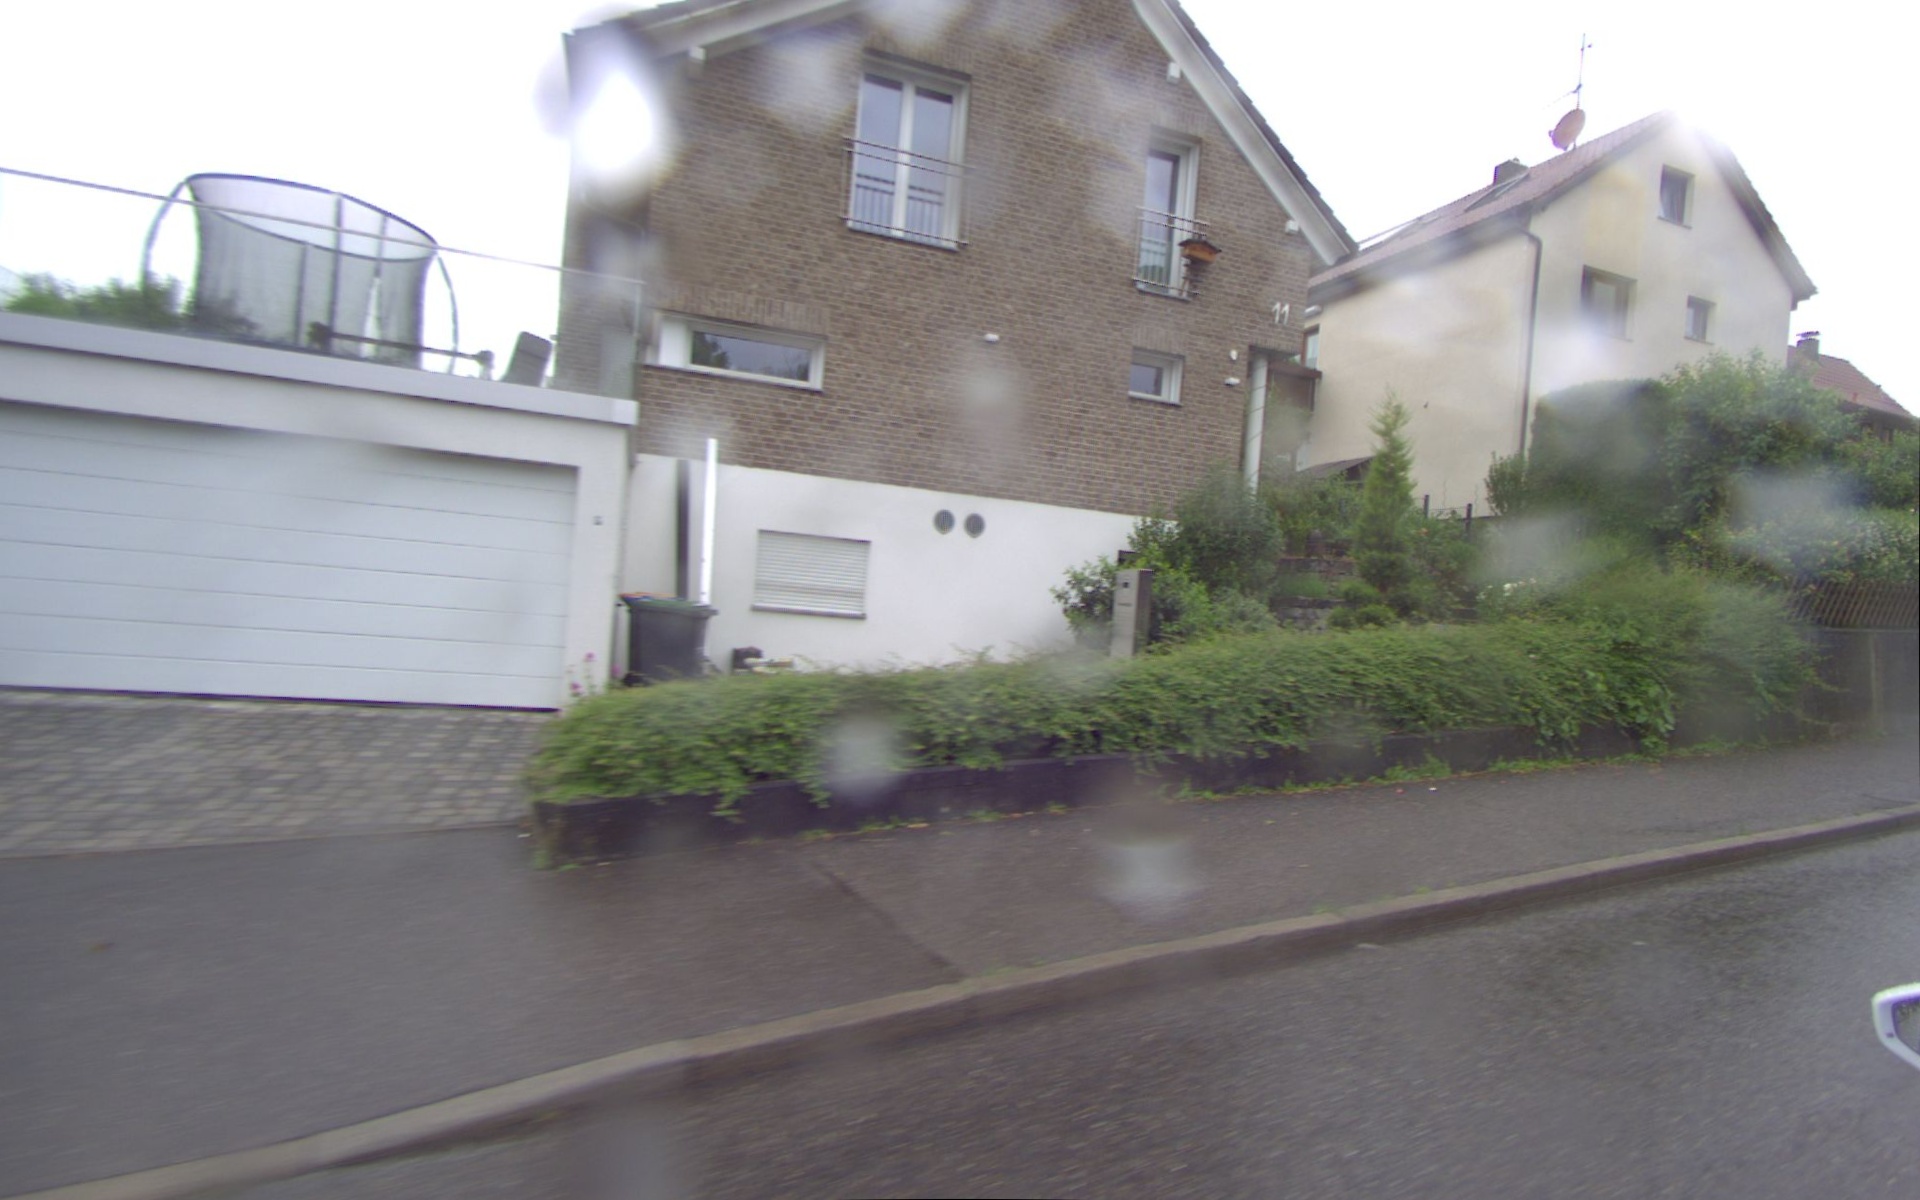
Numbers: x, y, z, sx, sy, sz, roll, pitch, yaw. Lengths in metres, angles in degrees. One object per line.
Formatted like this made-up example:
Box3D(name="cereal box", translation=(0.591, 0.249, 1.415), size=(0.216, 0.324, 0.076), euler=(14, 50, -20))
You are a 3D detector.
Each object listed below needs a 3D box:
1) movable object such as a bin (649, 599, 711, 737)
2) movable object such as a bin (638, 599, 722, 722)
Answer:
Box3D(name="movable object such as a bin", translation=(-2.774, 0.662, 9.937), size=(0.547, 1.320, 0.496), euler=(1, 0, -18))
Box3D(name="movable object such as a bin", translation=(-2.587, 0.545, 9.270), size=(0.701, 1.089, 0.559), euler=(1, 0, -17))
